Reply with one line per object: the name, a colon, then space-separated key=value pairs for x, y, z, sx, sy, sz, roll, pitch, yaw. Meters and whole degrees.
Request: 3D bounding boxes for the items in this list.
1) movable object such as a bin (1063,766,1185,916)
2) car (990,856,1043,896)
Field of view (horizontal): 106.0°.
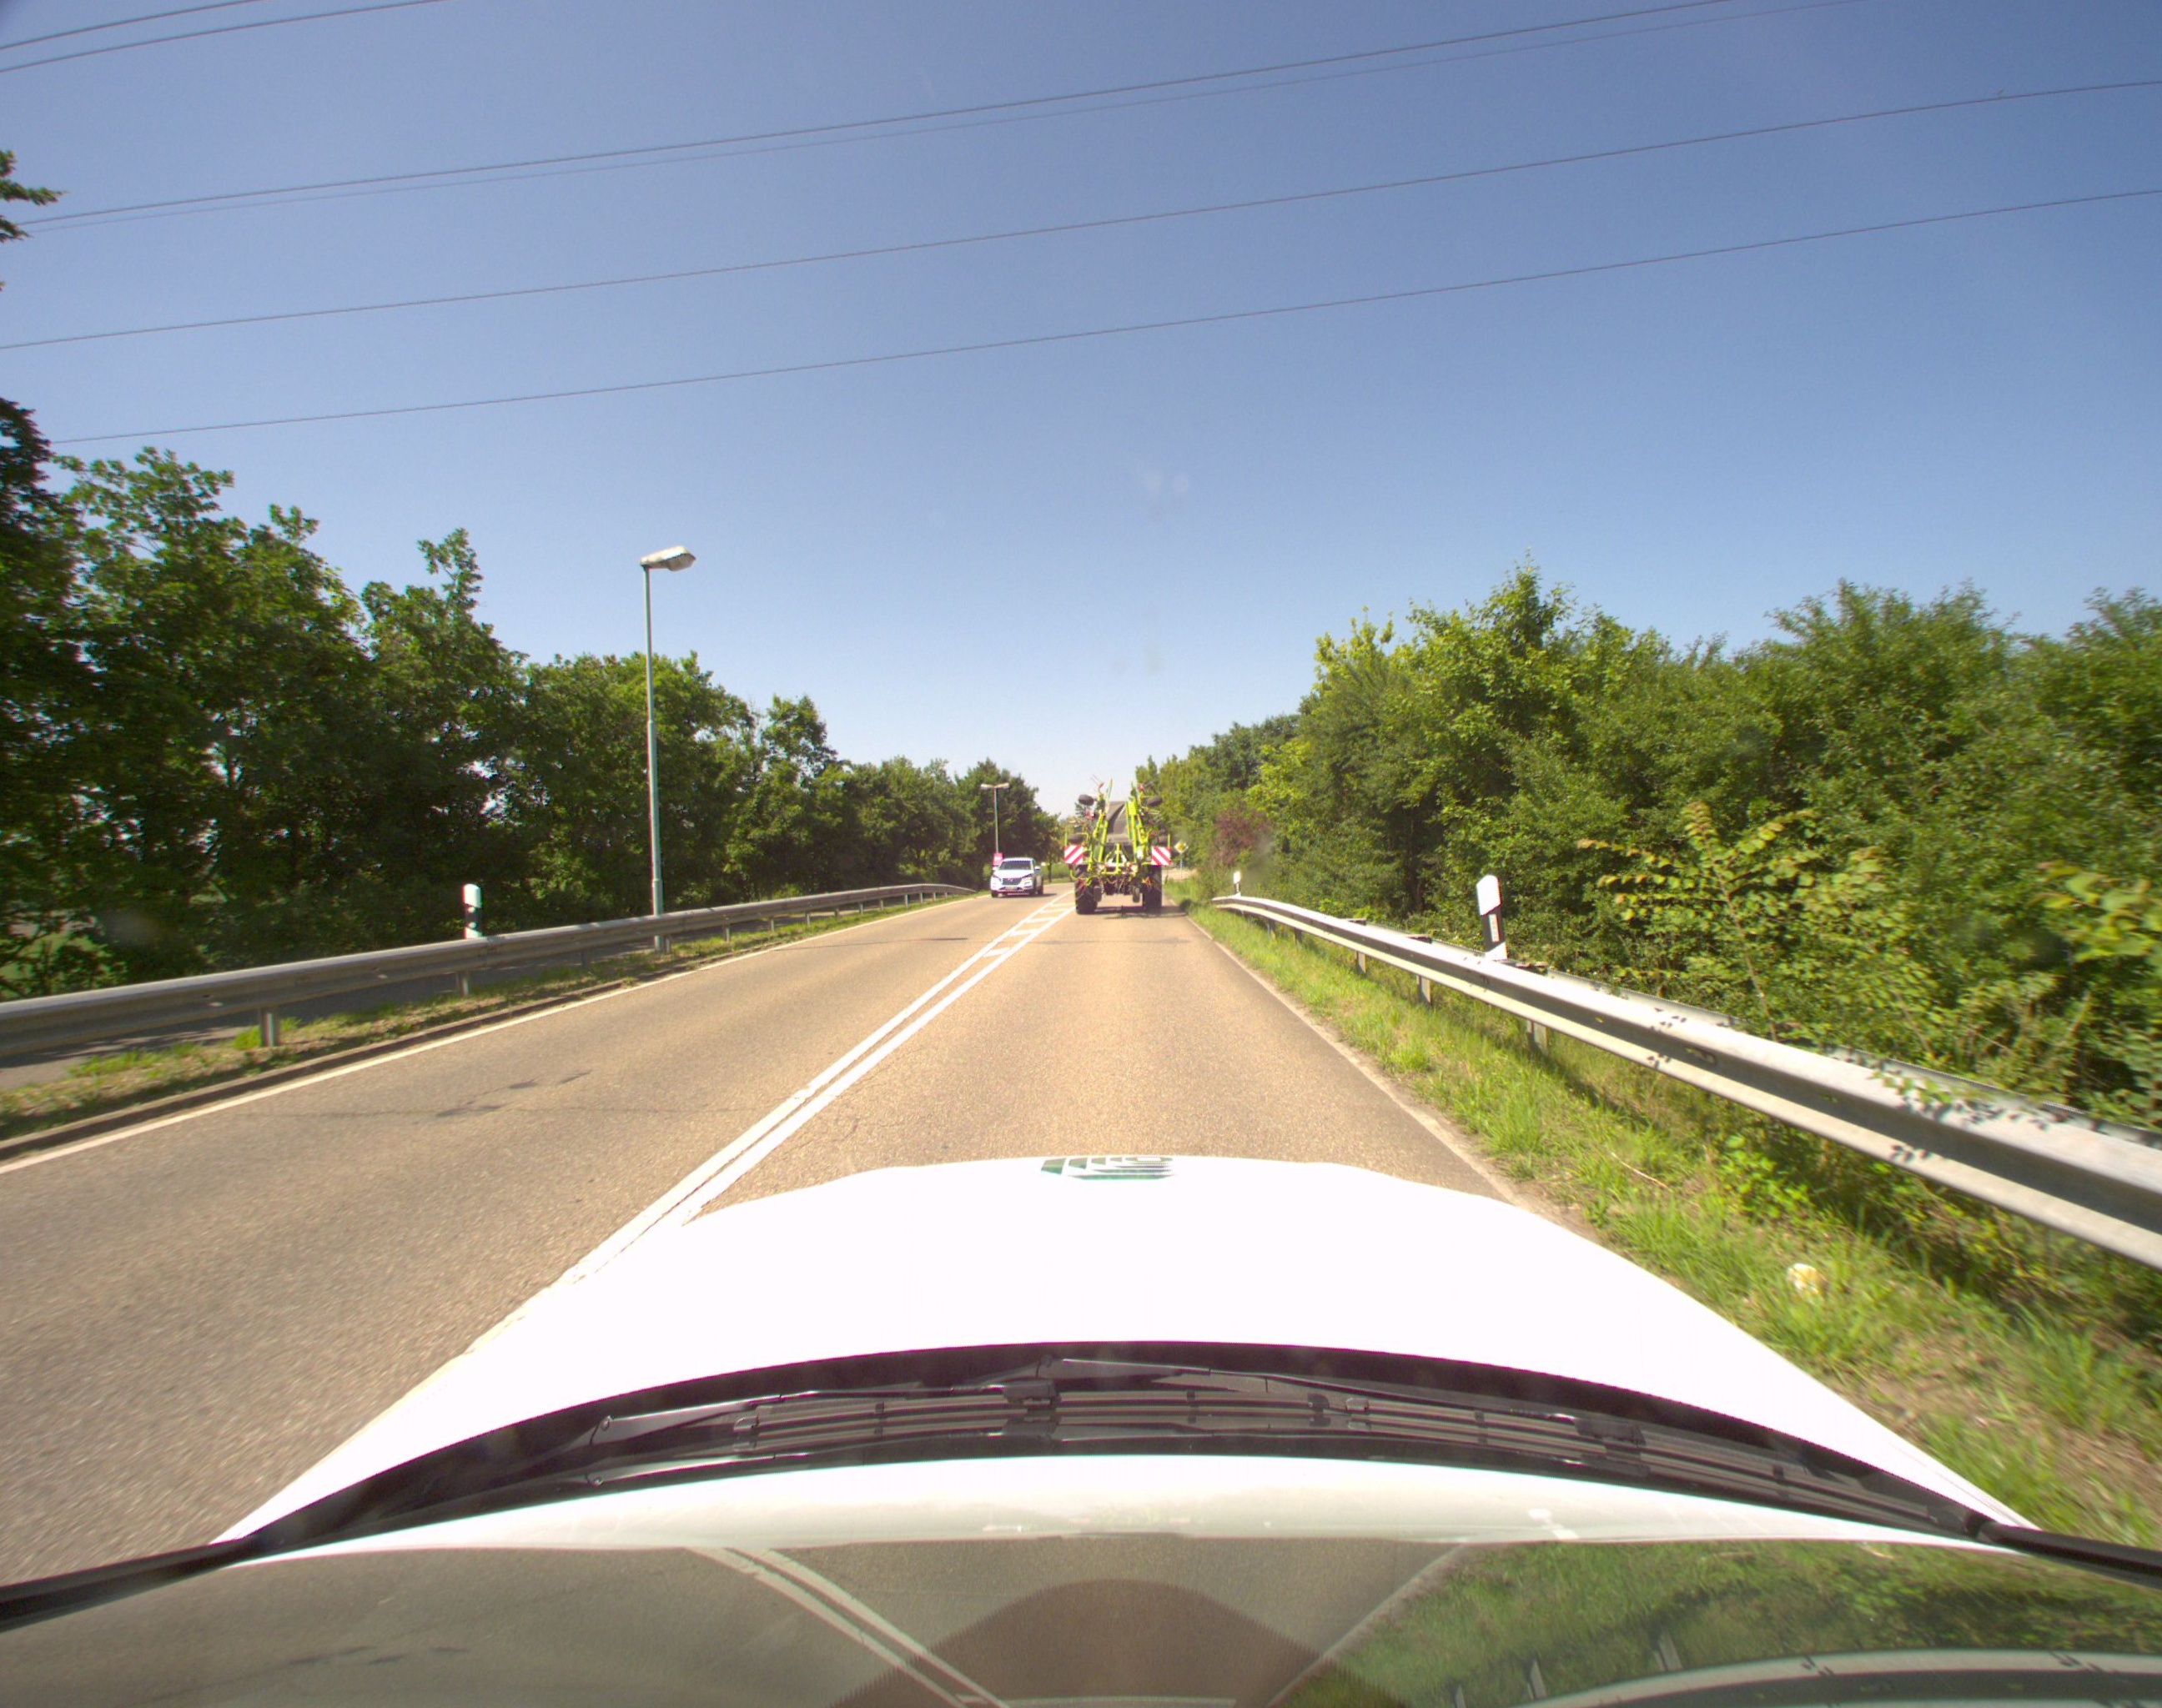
movable object such as a bin: x=1.138 y=-0.288 z=24.138 sx=2.842 sy=3.541 sz=9.703 roll=-1 pitch=0 yaw=1
car: x=-2.720 y=0.907 z=35.410 sx=1.817 sy=1.640 sz=4.142 roll=-1 pitch=0 yaw=2
